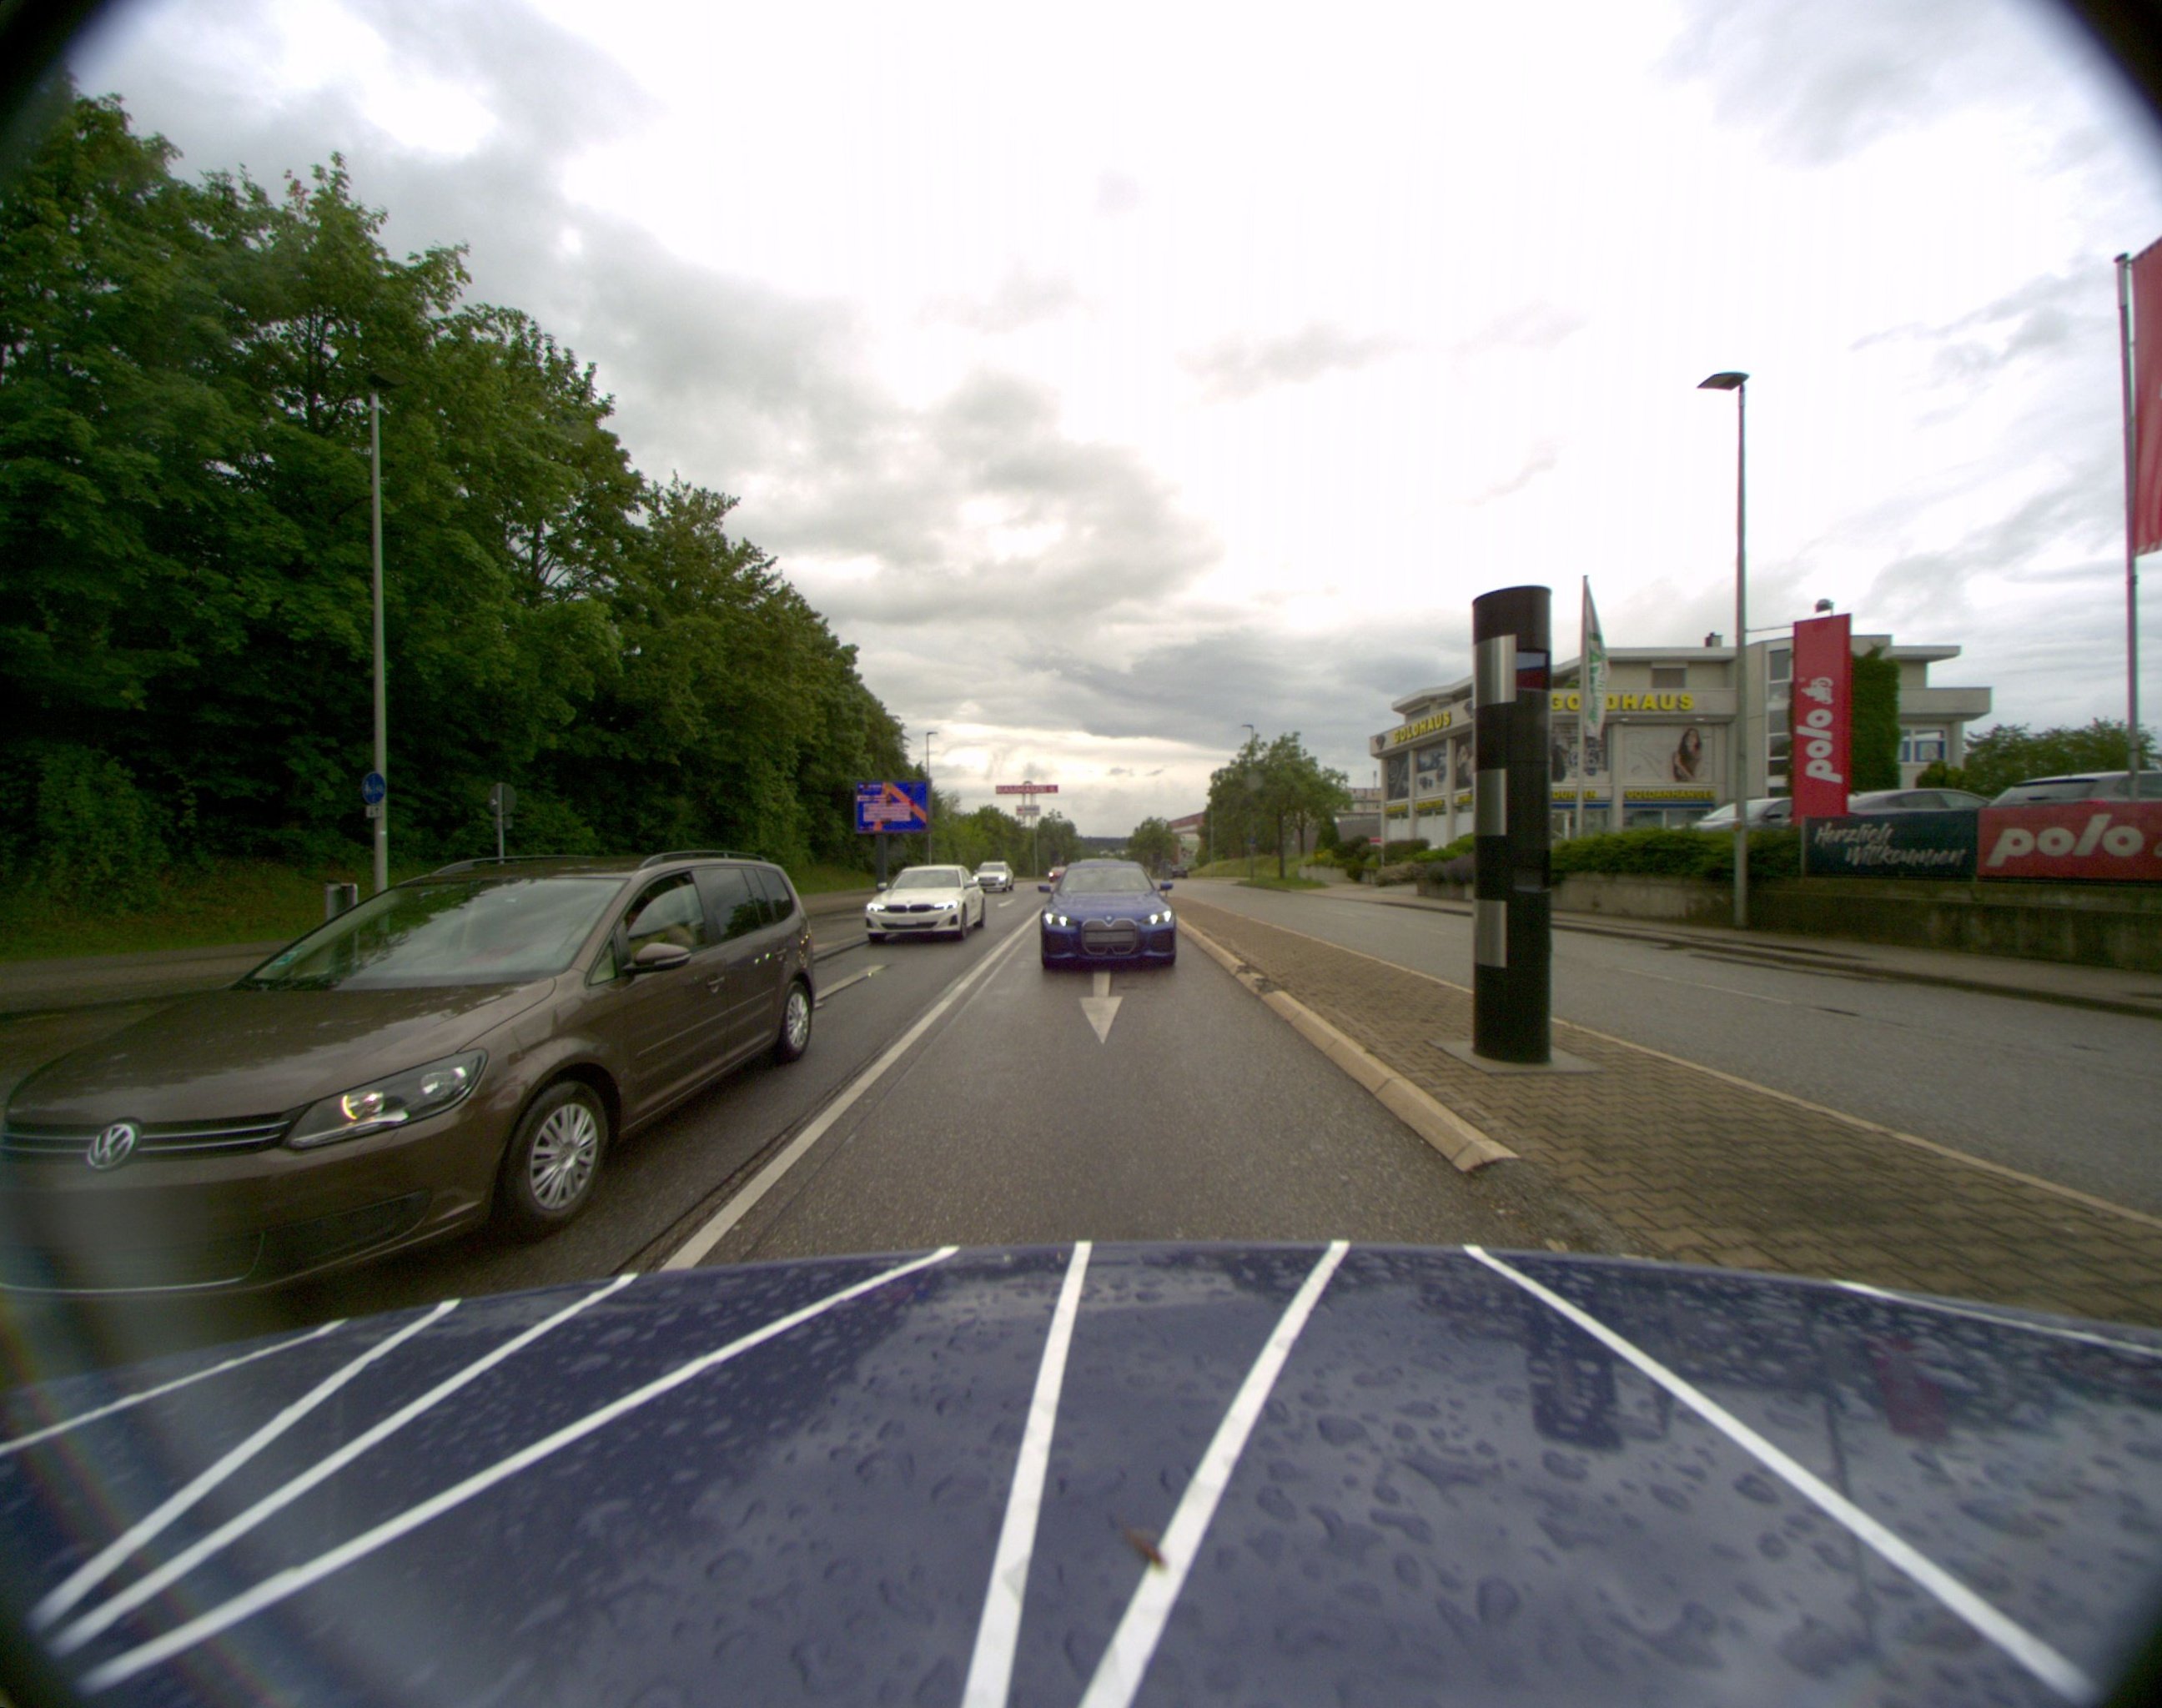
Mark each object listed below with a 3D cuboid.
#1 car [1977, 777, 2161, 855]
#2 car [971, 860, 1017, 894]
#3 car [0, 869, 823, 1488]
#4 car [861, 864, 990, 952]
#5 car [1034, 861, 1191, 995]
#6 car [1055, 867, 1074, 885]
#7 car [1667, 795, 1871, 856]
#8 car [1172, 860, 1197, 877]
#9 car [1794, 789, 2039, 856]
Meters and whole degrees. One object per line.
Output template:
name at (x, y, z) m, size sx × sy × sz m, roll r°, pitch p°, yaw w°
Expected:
car at (16.832, -0.575, 12.143) m, size 3.395 × 1.161 × 1.454 m, roll 0°, pitch 0°, yaw -2°
car at (-4.750, 1.237, 42.111) m, size 1.998 × 1.717 × 4.317 m, roll -1°, pitch 0°, yaw 1°
car at (-3.004, 0.959, 4.100) m, size 1.751 × 1.600 × 3.980 m, roll -2°, pitch 0°, yaw 1°
car at (-3.100, 1.010, 16.093) m, size 1.784 × 1.448 × 4.679 m, roll -2°, pitch 0°, yaw -1°
car at (0.337, 0.883, 11.162) m, size 1.784 × 1.448 × 4.596 m, roll -2°, pitch 0°, yaw -1°
car at (-1.463, 1.928, 68.030) m, size 1.634 × 1.448 × 3.537 m, roll -2°, pitch 0°, yaw -1°
car at (15.910, -0.643, 17.689) m, size 3.394 × 1.329 × 1.454 m, roll 0°, pitch 0°, yaw 1°
car at (12.060, 1.689, 89.181) m, size 2.350 × 1.879 × 4.546 m, roll 0°, pitch -2°, yaw 1°
car at (16.637, -0.603, 15.234) m, size 3.395 × 1.270 × 1.454 m, roll 0°, pitch 0°, yaw -2°
